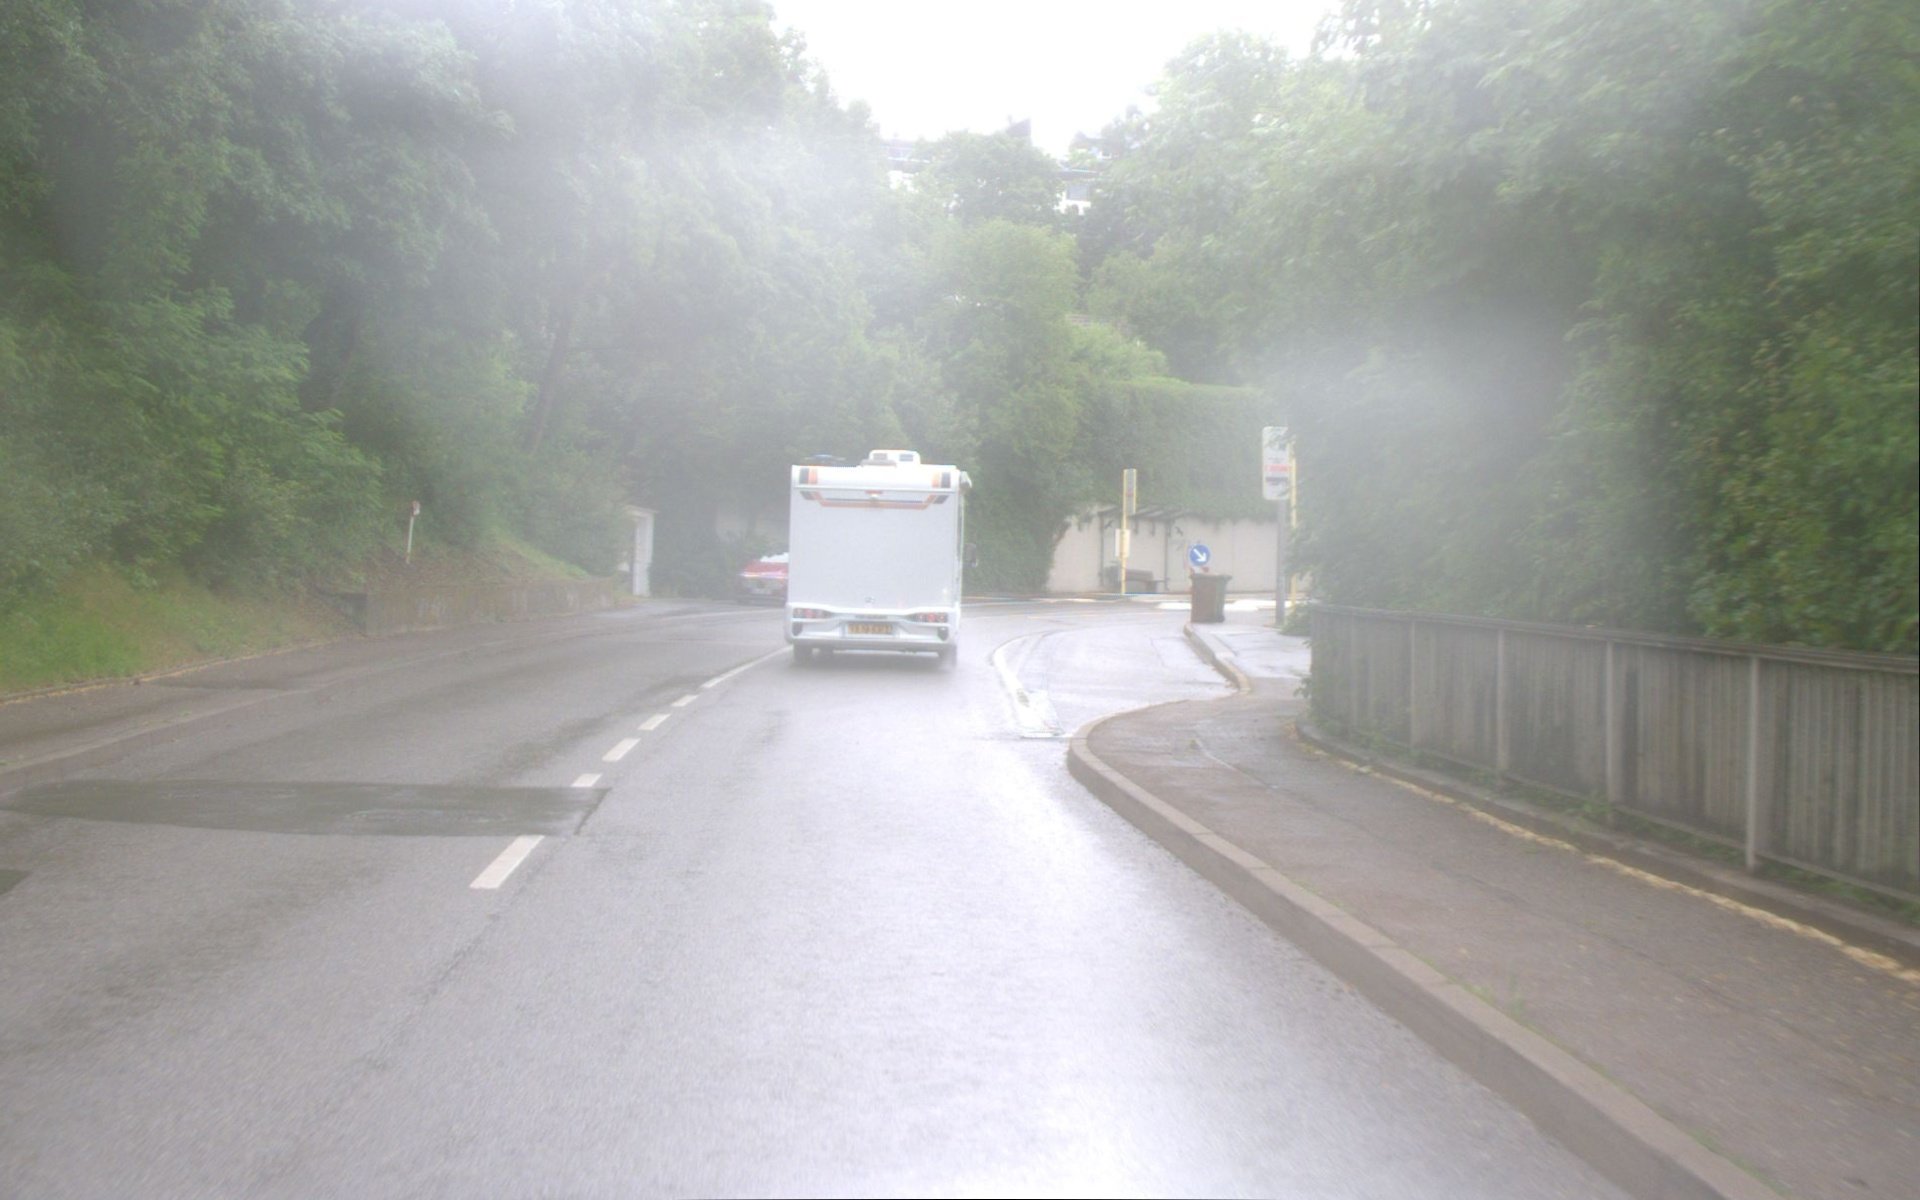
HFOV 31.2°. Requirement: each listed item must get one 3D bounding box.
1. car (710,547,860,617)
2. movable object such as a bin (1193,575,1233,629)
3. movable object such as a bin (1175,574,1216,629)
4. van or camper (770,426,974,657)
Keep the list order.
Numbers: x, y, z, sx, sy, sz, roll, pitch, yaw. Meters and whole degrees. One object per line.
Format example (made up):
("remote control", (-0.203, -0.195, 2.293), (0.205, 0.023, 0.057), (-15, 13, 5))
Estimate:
("car", (-4.122, -0.444, 81.728), (1.995, 1.556, 4.649), (3, 1, 18))
("movable object such as a bin", (5.497, 0.039, 74.572), (0.778, 1.129, 0.738), (2, 1, 8))
("movable object such as a bin", (5.014, 0.034, 73.149), (0.778, 1.129, 0.738), (2, 1, 8))
("van or camper", (-1.306, -0.753, 47.665), (2.540, 2.915, 5.948), (-2, 0, -3))
